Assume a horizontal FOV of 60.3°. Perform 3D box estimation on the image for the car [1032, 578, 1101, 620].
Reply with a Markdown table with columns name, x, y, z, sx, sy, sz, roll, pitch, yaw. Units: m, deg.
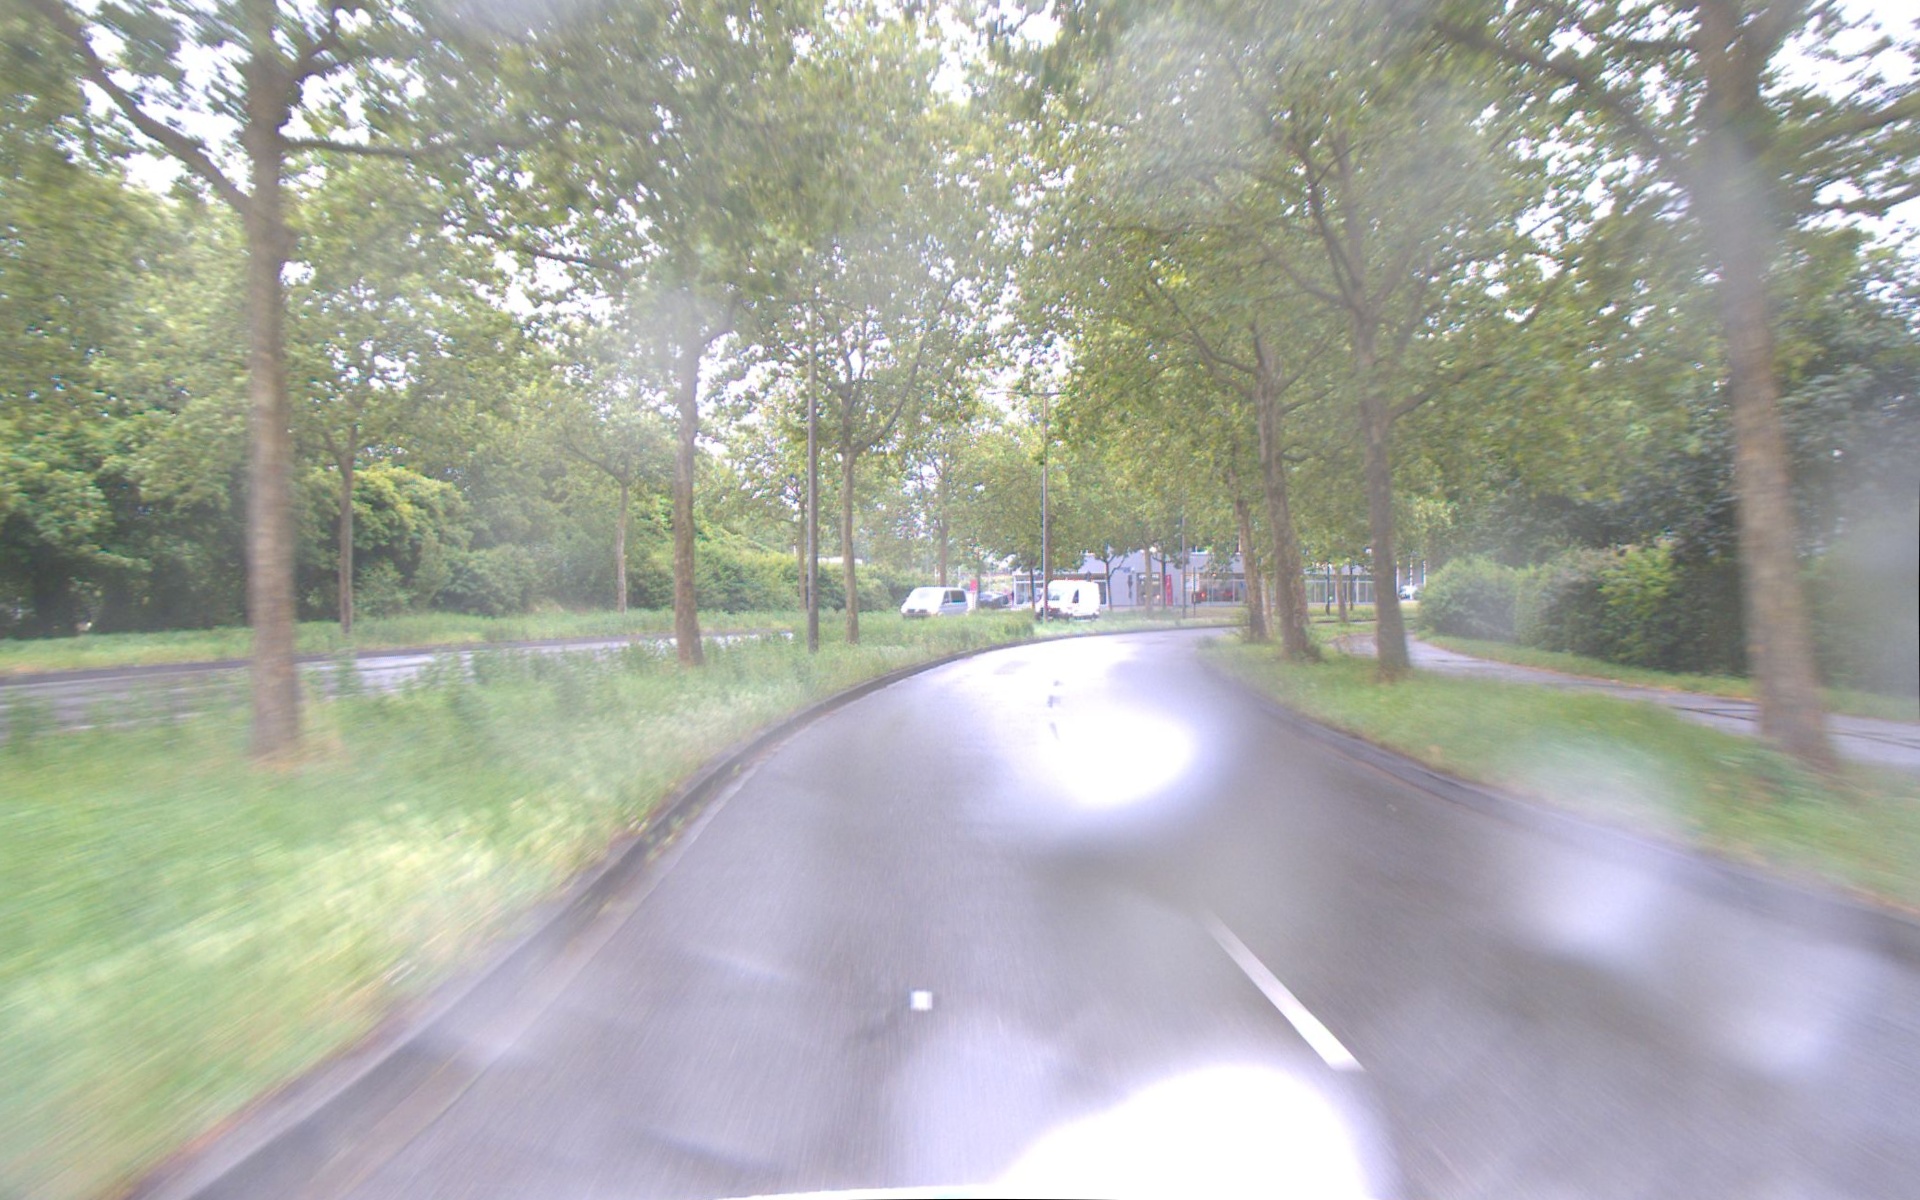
| name | x | y | z | sx | sy | sz | roll | pitch | yaw |
| --- | --- | --- | --- | --- | --- | --- | --- | --- | --- |
| car | 6.141 | -0.080 | 94.264 | 2.235 | 2.311 | 5.968 | 0 | 0 | 21 |

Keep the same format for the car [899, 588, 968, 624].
| name | x | y | z | sx | sy | sz | roll | pitch | yaw |
| --- | --- | --- | --- | --- | --- | --- | --- | --- | --- |
| car | -1.197 | 0.269 | 77.588 | 1.930 | 1.591 | 4.734 | 0 | 0 | 16 |

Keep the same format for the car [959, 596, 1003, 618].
| name | x | y | z | sx | sy | sz | roll | pitch | yaw |
| --- | --- | --- | --- | --- | --- | --- | --- | --- | --- |
| car | 1.980 | 0.689 | 156.501 | 3.912 | 2.049 | 1.996 | 0 | -2 | -8 |
